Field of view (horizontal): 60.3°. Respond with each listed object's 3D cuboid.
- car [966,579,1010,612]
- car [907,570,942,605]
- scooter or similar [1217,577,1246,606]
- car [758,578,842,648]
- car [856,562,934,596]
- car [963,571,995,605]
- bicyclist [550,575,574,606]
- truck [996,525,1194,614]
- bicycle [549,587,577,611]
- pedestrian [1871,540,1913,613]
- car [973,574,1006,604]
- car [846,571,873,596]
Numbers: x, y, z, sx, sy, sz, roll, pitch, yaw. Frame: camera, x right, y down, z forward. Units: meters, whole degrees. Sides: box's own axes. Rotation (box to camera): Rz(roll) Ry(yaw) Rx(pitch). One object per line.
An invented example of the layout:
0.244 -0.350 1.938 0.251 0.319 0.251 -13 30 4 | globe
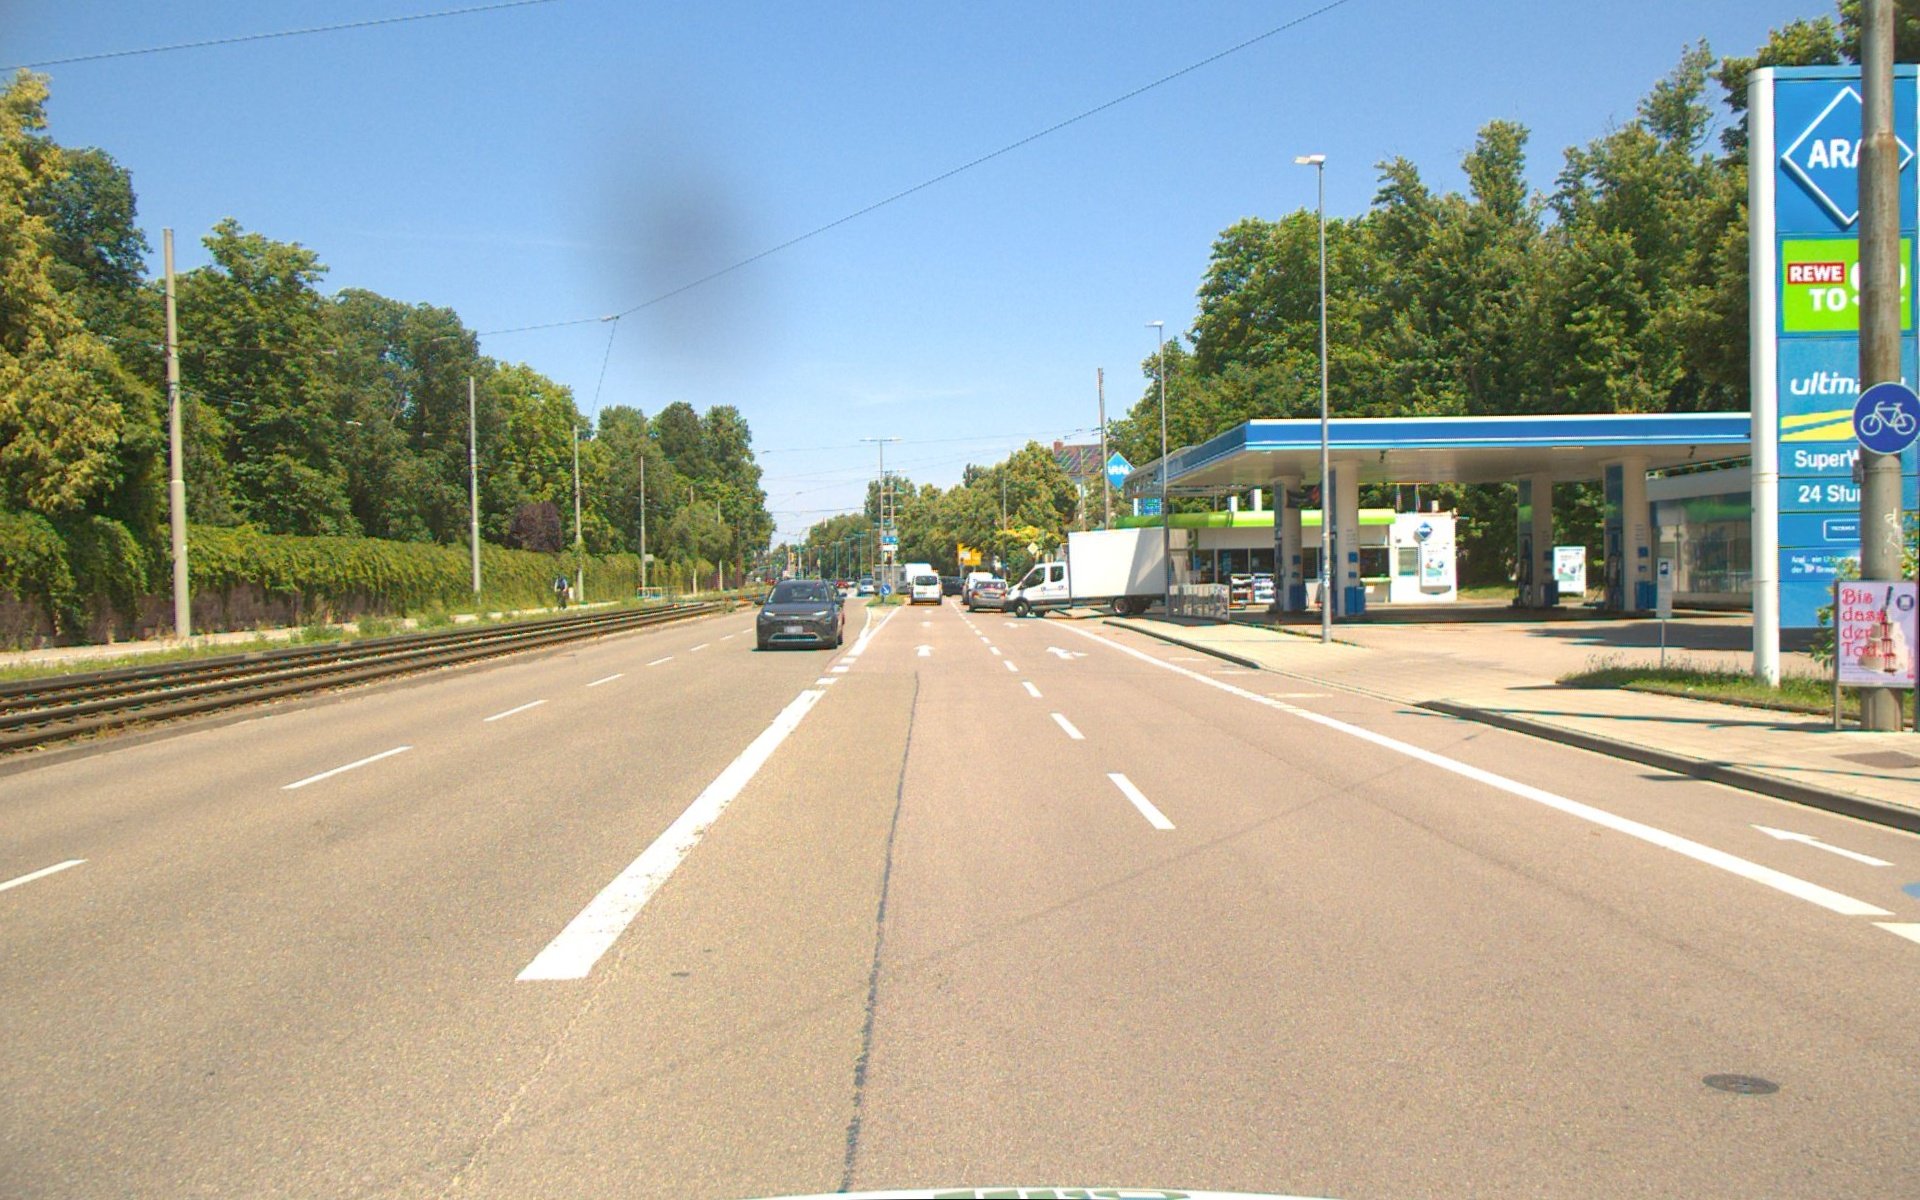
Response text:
1.287 -0.235 76.968 1.735 1.445 3.998 -1 1 -3 | car
-1.976 -0.724 91.566 1.829 1.868 3.847 1 1 -2 | car
11.439 -0.361 69.710 1.112 1.197 0.384 -1 1 -1 | scooter or similar
-3.520 0.243 36.913 1.679 1.446 4.139 -1 1 -3 | car
-5.002 -1.598 126.541 2.683 2.560 6.123 -1 1 -43 | car
1.037 -0.671 92.748 1.675 1.862 4.013 -1 1 -1 | car
-19.972 -0.487 83.041 0.975 1.512 1.000 -1 1 -3 | bicyclist
5.456 -1.204 67.420 7.654 3.450 2.425 -1 1 26 | truck
-19.974 -0.056 83.212 0.811 1.176 2.685 -1 1 -2 | bicycle
24.928 -0.633 44.245 0.612 1.921 0.837 -1 1 -2 | pedestrian
1.495 -0.580 83.895 1.574 1.477 3.520 -1 1 -1 | car
-8.417 -1.383 138.681 1.956 2.049 3.993 -1 1 -8 | car
